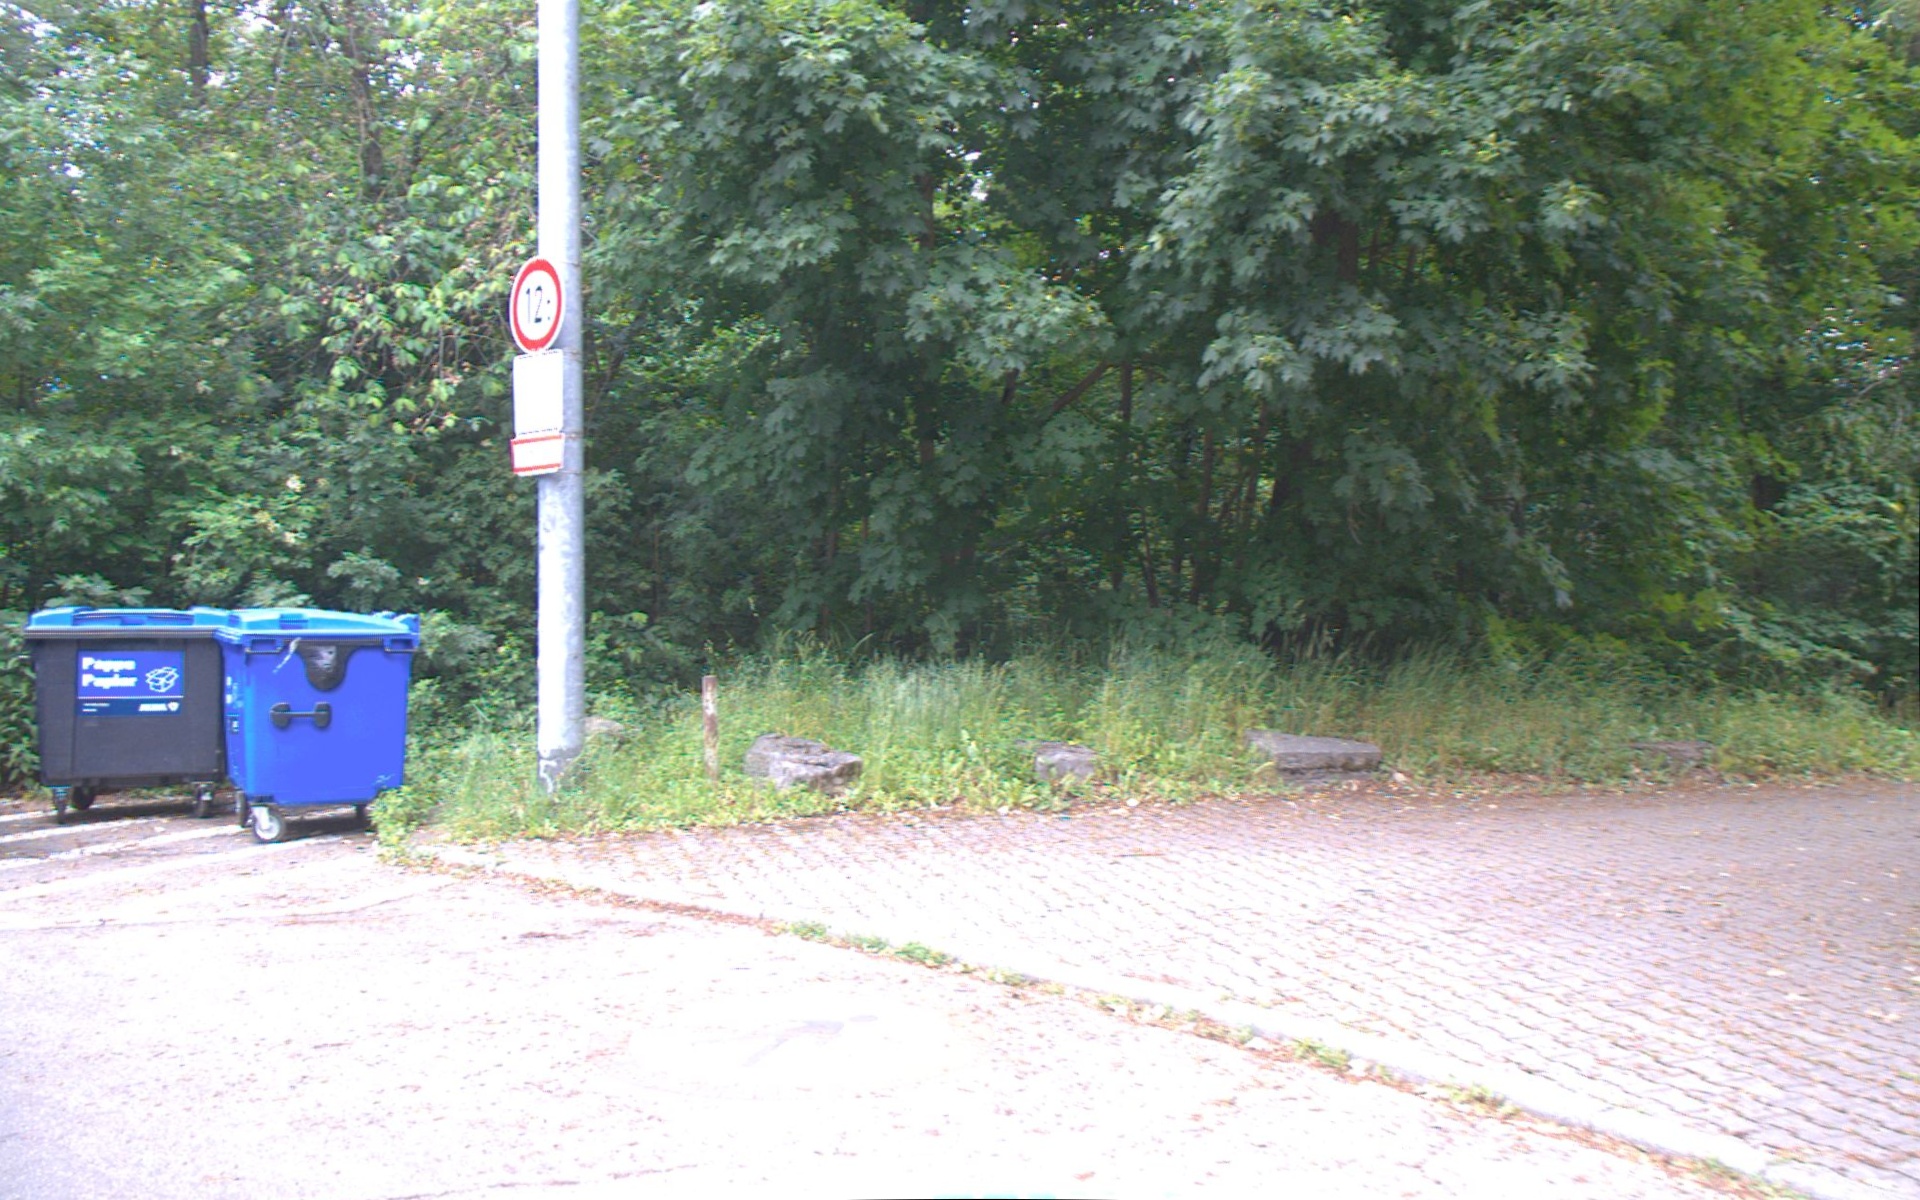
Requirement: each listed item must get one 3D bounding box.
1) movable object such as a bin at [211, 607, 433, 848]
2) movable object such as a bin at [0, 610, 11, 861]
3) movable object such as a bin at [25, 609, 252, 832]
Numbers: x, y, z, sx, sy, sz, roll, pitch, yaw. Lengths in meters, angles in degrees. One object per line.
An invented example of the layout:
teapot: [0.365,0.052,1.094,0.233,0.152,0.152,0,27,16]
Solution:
movable object such as a bin: [-3.937,0.721,10.158,1.130,1.348,1.245,0,0,-29]
movable object such as a bin: [-5.918,0.721,8.751,1.153,1.330,1.304,0,0,44]
movable object such as a bin: [-5.332,0.740,10.838,1.218,1.343,1.120,0,0,-21]
